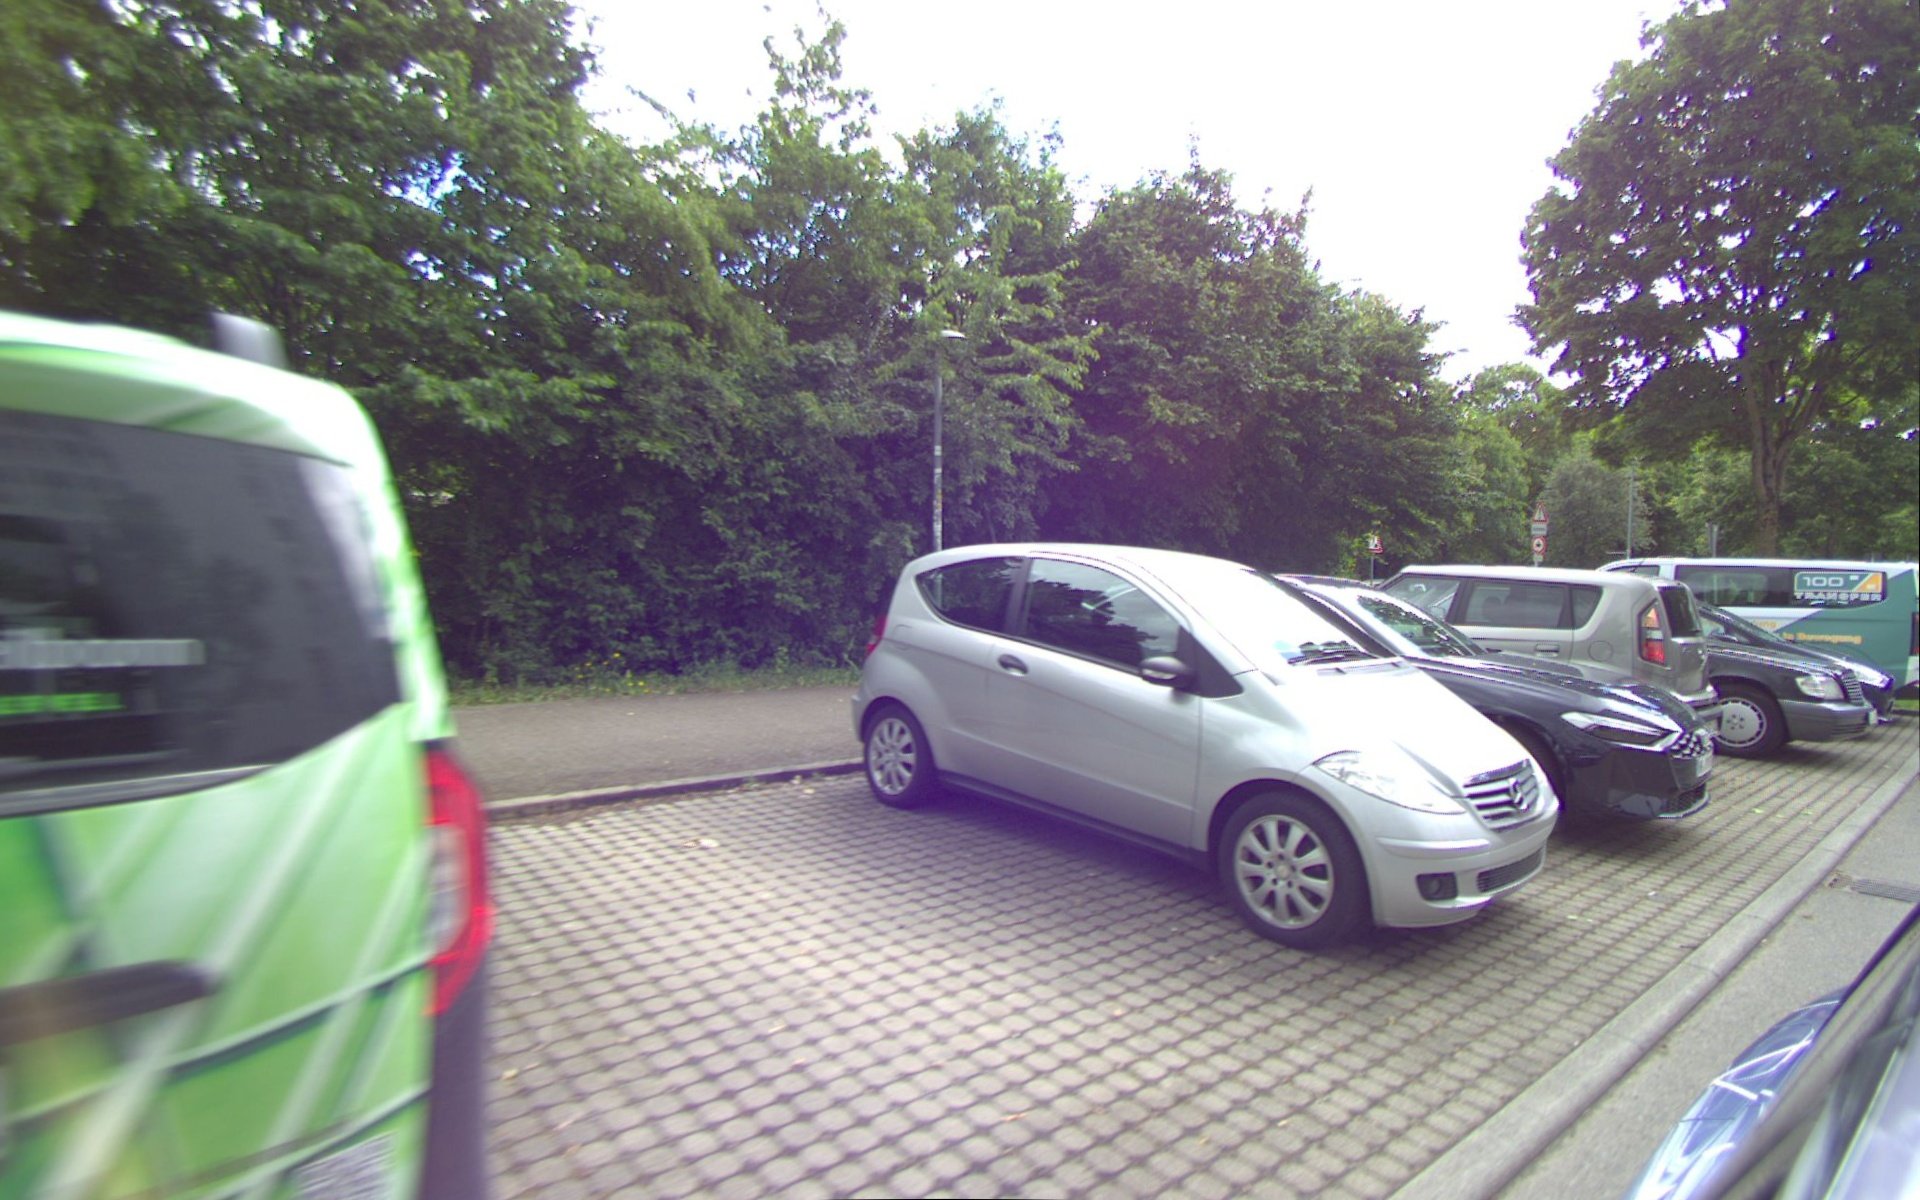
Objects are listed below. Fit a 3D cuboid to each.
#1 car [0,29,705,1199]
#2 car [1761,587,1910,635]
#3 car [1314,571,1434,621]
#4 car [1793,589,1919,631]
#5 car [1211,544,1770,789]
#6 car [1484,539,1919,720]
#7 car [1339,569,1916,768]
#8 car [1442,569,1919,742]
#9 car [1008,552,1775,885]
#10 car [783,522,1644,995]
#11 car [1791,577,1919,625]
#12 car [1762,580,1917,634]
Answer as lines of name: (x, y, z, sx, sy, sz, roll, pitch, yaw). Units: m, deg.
car: (-2.555, 0.274, 2.513, 1.883, 1.927, 4.387, 0, 3, -42)
car: (30.961, 0.333, 35.859, 1.822, 1.420, 3.836, -1, 4, -45)
car: (15.427, -0.195, 37.854, 1.736, 1.689, 3.789, 0, 2, -39)
car: (38.162, 0.384, 43.126, 3.988, 1.447, 1.906, 5, 4, 43)
car: (4.586, 0.387, 9.232, 1.859, 1.628, 4.073, 0, 3, -42)
car: (10.220, 0.248, 13.908, 4.976, 1.996, 1.817, 5, 3, 45)
car: (6.793, 0.515, 10.797, 2.021, 1.451, 4.734, 0, 3, -41)
car: (8.732, 0.502, 12.425, 1.815, 1.535, 4.713, 0, 3, -42)
car: (2.808, 0.514, 7.450, 2.077, 1.517, 4.730, 0, 4, -45)
car: (0.995, 0.419, 5.725, 1.883, 1.596, 4.387, 0, 3, -42)
car: (46.357, 0.009, 52.359, 4.959, 2.038, 2.131, 6, 4, 45)
car: (32.657, 0.209, 37.651, 1.947, 1.670, 4.130, 0, 4, -43)
